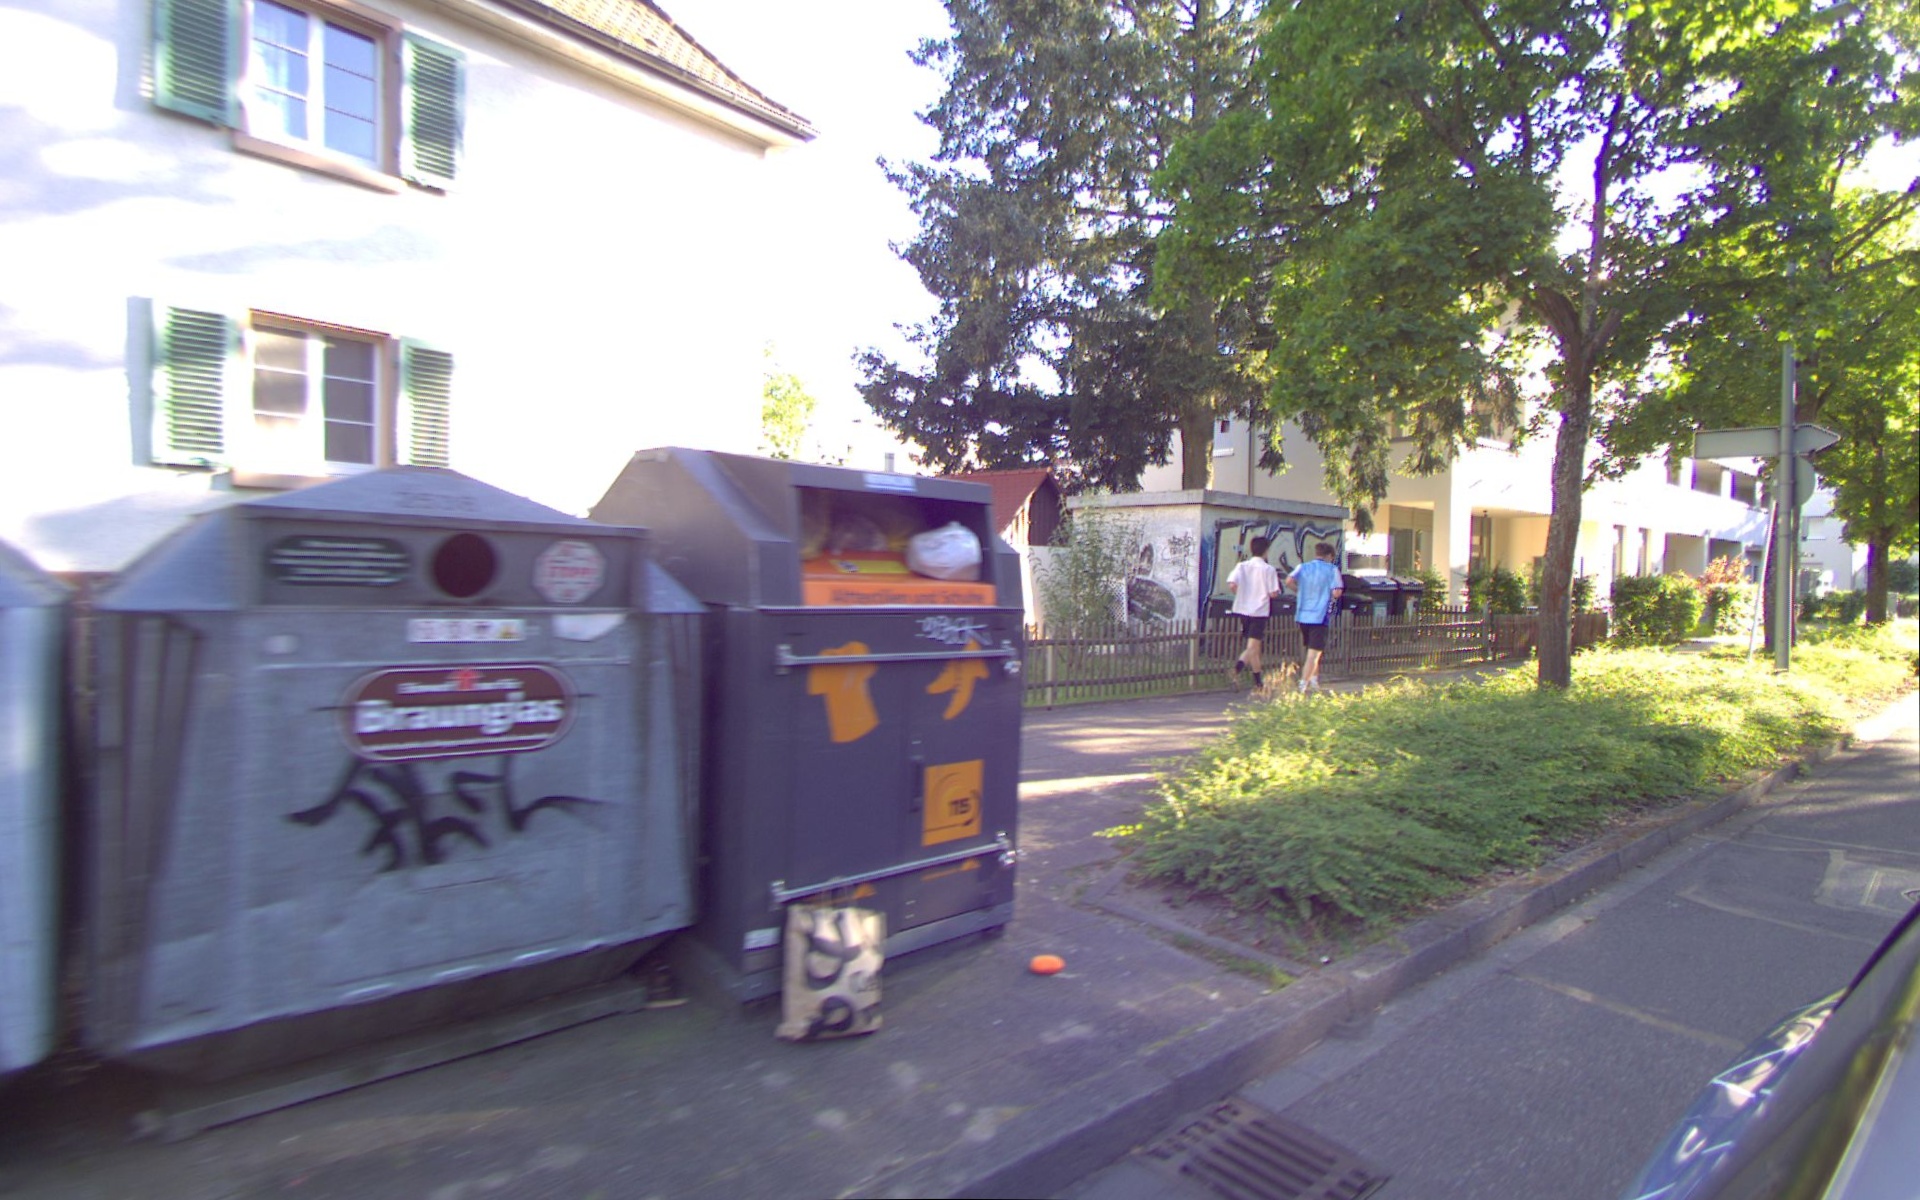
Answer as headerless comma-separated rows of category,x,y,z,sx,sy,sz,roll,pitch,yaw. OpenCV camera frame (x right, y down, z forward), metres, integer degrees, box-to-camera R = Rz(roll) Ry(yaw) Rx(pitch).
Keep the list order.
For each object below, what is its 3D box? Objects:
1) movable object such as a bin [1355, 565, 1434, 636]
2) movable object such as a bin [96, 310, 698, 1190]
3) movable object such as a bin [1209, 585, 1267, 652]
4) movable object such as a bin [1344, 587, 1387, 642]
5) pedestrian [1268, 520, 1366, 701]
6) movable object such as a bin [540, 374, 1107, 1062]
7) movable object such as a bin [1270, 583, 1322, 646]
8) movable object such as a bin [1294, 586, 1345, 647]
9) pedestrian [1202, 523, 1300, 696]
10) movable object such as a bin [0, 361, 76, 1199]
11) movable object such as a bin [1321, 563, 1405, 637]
movable object such as a bin,9.452,-0.016,22.014,1.343,1.444,1.081,-1,4,-42
movable object such as a bin,-1.668,0.298,3.013,1.362,1.850,1.149,-1,1,-41
movable object such as a bin,4.584,0.284,16.692,0.634,1.042,0.644,-1,4,-42
movable object such as a bin,7.997,0.277,19.949,0.604,1.042,0.539,-1,4,-42
pedestrian,3.961,0.101,11.231,0.879,1.917,0.674,-1,1,-41
movable object such as a bin,-0.610,0.297,3.938,1.369,1.876,1.924,-1,1,-41
movable object such as a bin,5.921,0.242,17.839,0.584,1.042,0.615,-1,4,-42
movable object such as a bin,6.521,0.287,18.382,0.630,1.042,0.607,-1,4,-42
pedestrian,3.379,0.092,11.741,1.001,1.917,0.643,-1,1,-41
movable object such as a bin,-2.947,0.365,2.129,1.611,1.678,1.589,-1,1,-41
movable object such as a bin,8.386,-0.022,21.045,1.364,1.447,1.081,-1,4,-42
